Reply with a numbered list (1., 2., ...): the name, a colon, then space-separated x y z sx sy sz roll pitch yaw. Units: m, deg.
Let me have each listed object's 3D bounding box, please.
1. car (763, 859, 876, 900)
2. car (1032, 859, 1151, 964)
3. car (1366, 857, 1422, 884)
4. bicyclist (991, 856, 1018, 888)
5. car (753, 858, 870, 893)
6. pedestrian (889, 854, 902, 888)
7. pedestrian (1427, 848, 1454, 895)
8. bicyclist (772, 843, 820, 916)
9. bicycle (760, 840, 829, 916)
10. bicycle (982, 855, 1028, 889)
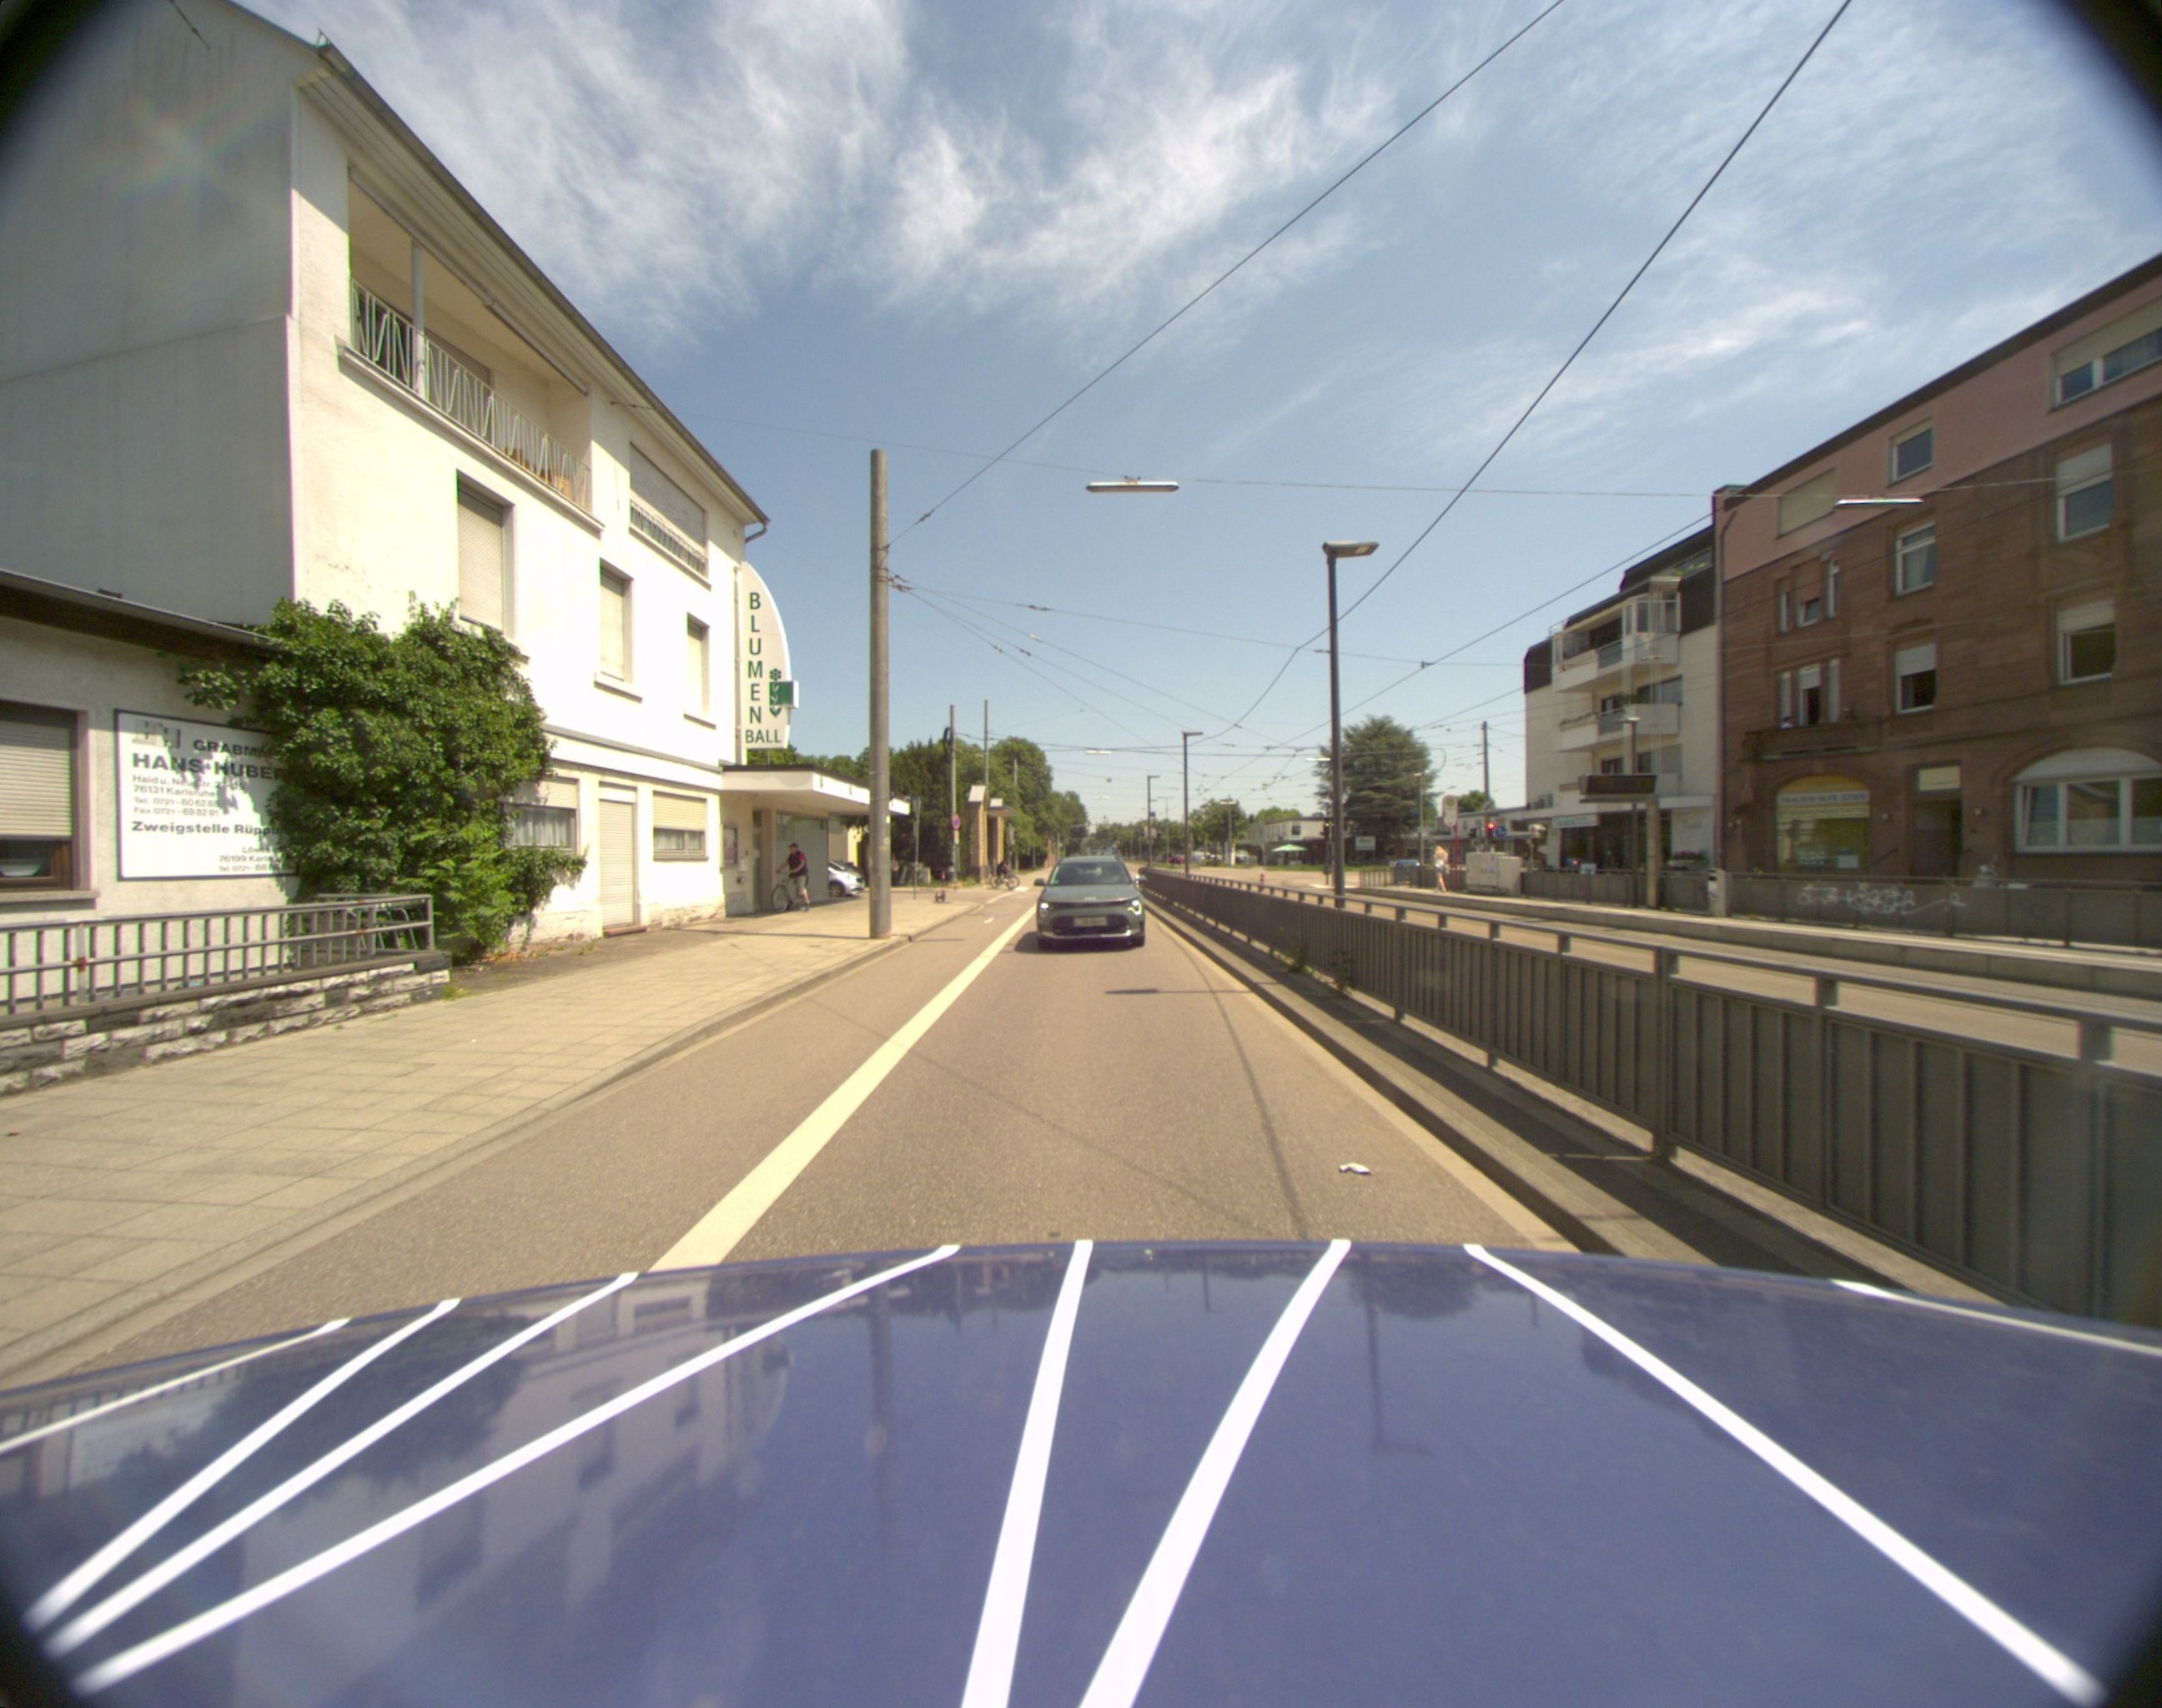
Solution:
1. car: -10.030 0.955 29.351 4.003 1.508 1.695 0 0 -17
2. car: 0.178 0.906 14.037 1.827 1.546 4.487 -1 0 0
3. car: 18.515 0.940 45.072 1.696 1.477 4.000 -2 0 1
4. bicyclist: -3.870 0.911 38.558 0.988 1.568 0.866 4 0 -31
5. car: -11.593 0.919 32.893 4.462 1.449 1.595 1 -1 0
6. pedestrian: -8.697 0.802 35.714 0.536 1.589 0.425 -2 1 -13
7. pedestrian: 12.562 0.593 26.591 0.597 1.615 0.676 1 1 0
8. bicyclist: -7.534 0.653 20.106 0.790 1.863 0.888 2 0 7
9. bicycle: -7.540 0.617 20.108 0.800 1.889 1.960 2 0 7
10. bicycle: -3.838 0.912 38.584 2.054 1.580 0.888 4 0 -31
